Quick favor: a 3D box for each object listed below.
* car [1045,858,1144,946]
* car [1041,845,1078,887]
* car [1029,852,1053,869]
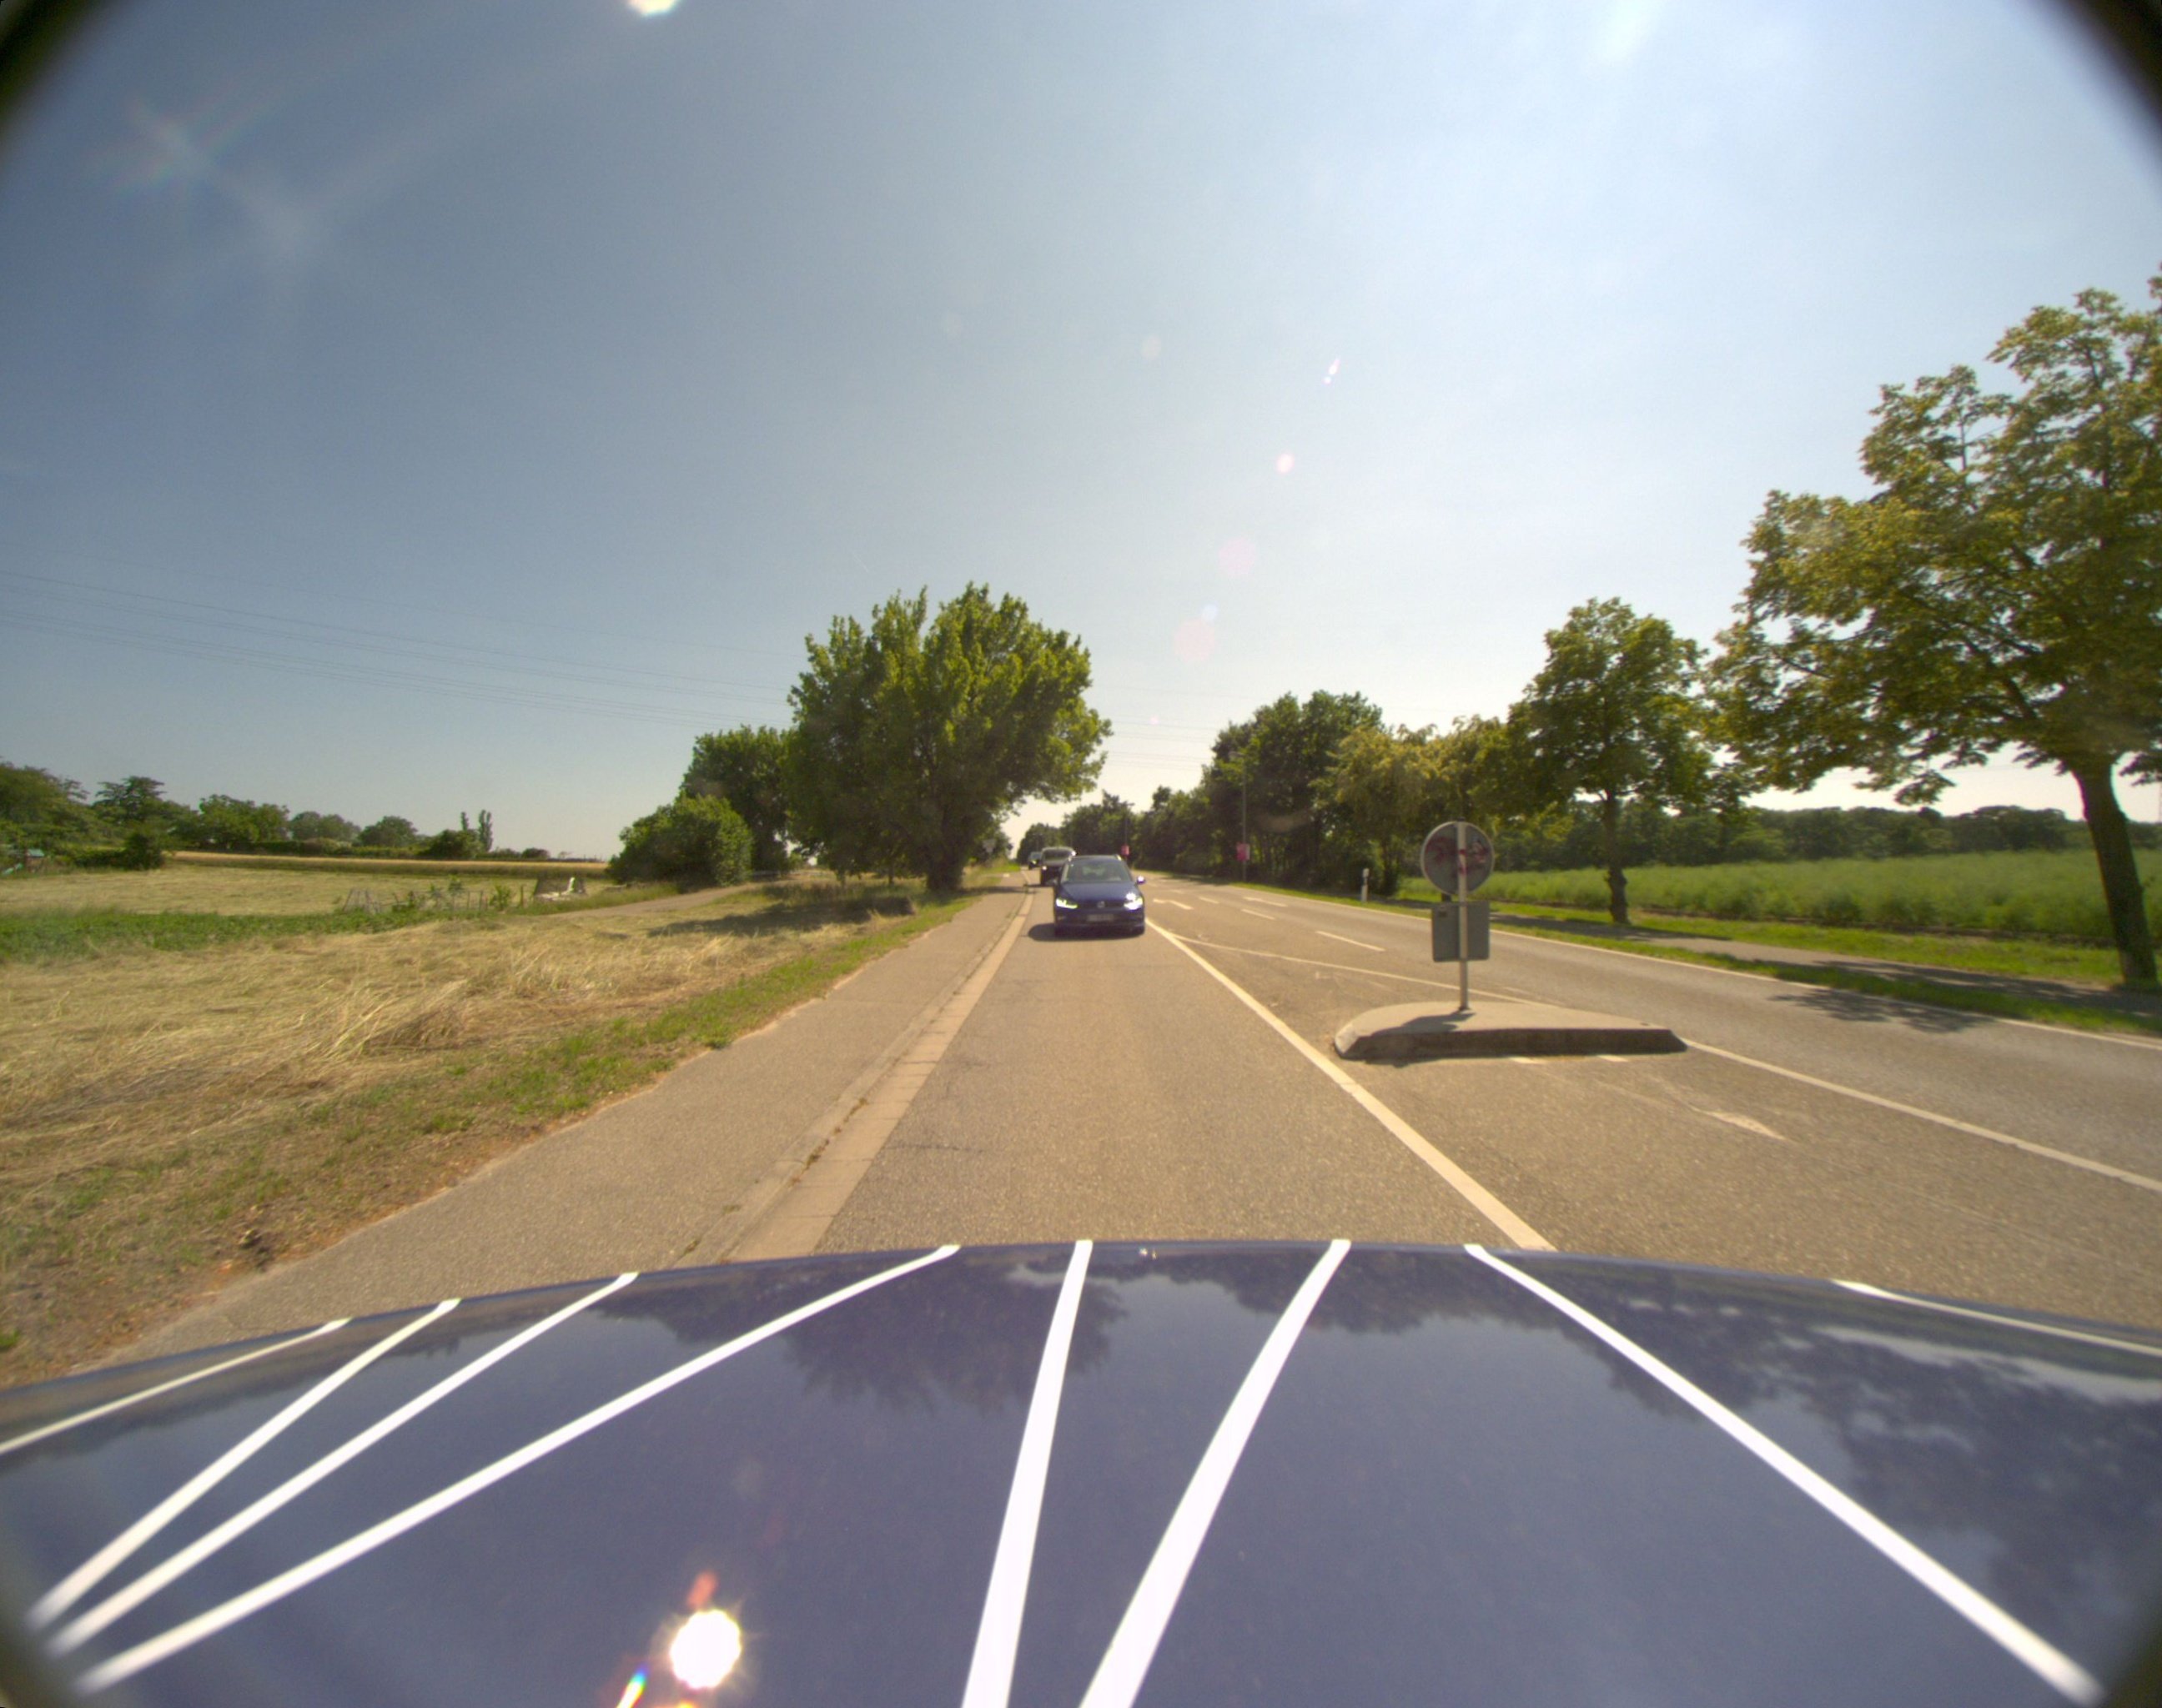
[{"bbox_3d":[0.151,0.896,16.297,1.765,1.520,4.421,-2,1,-3],"label":"car"},{"bbox_3d":[-1.155,0.559,39.664,1.765,1.954,4.259,-2,2,-3],"label":"car"},{"bbox_3d":[-3.804,0.619,71.970,1.766,1.530,3.682,-1,-1,-10],"label":"car"}]
